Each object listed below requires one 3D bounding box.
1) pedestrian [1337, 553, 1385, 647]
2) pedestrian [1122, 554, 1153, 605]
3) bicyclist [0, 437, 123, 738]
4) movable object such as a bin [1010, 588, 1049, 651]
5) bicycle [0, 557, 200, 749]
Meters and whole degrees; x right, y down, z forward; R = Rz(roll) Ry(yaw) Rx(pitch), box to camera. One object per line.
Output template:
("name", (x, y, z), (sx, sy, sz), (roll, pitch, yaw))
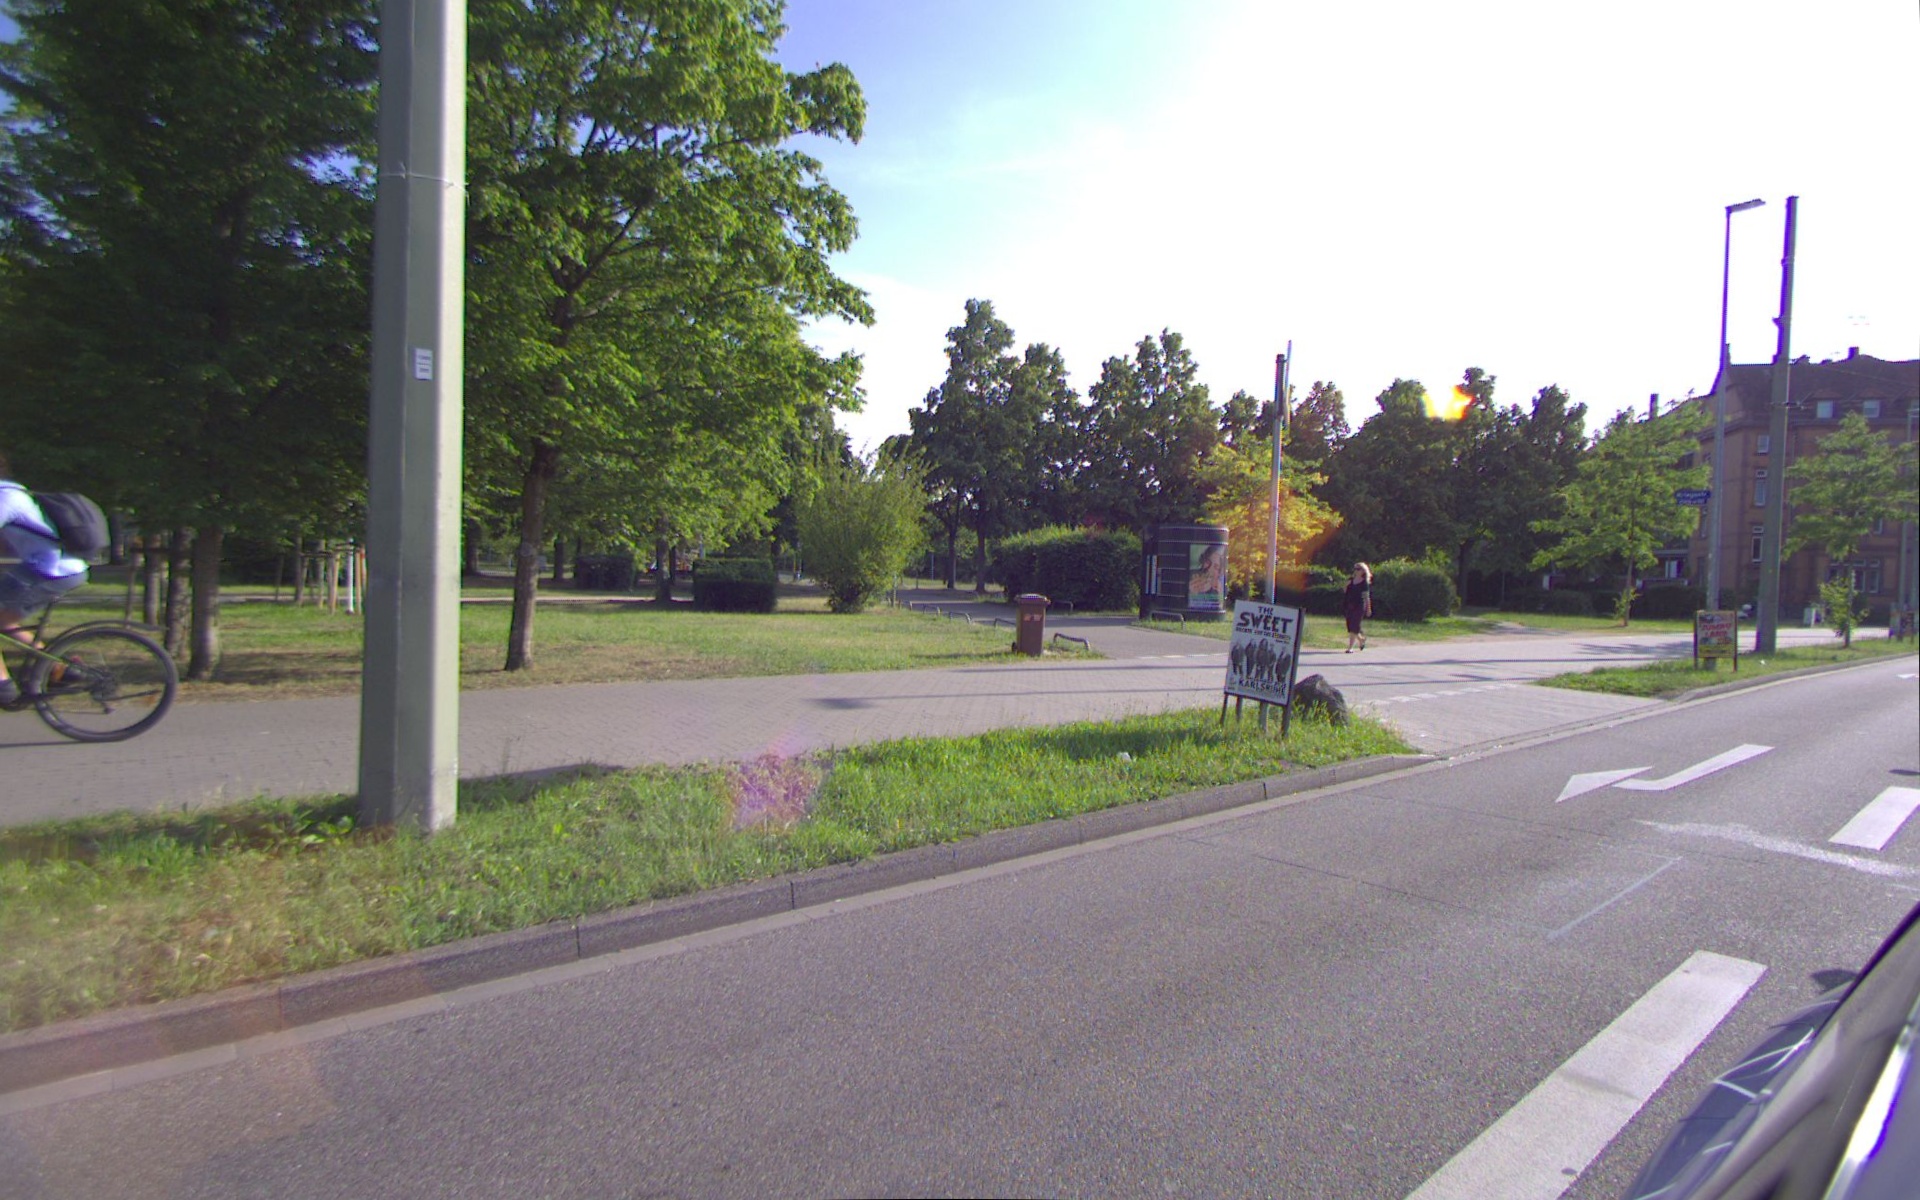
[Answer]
("pedestrian", (7.592, -0.010, 19.170), (0.651, 1.722, 0.558), (1, 2, -41))
("pedestrian", (7.869, -0.918, 44.878), (0.872, 2.184, 0.914), (1, 1, -28))
("bicyclist", (-5.836, -0.097, 6.157), (1.120, 1.766, 0.650), (0, 5, -42))
("movable object such as a bin", (1.049, 0.287, 15.333), (0.514, 0.915, 0.504), (2, 1, -2))
("bicycle", (-5.867, 0.305, 6.189), (1.906, 1.101, 0.642), (0, 4, -42))
